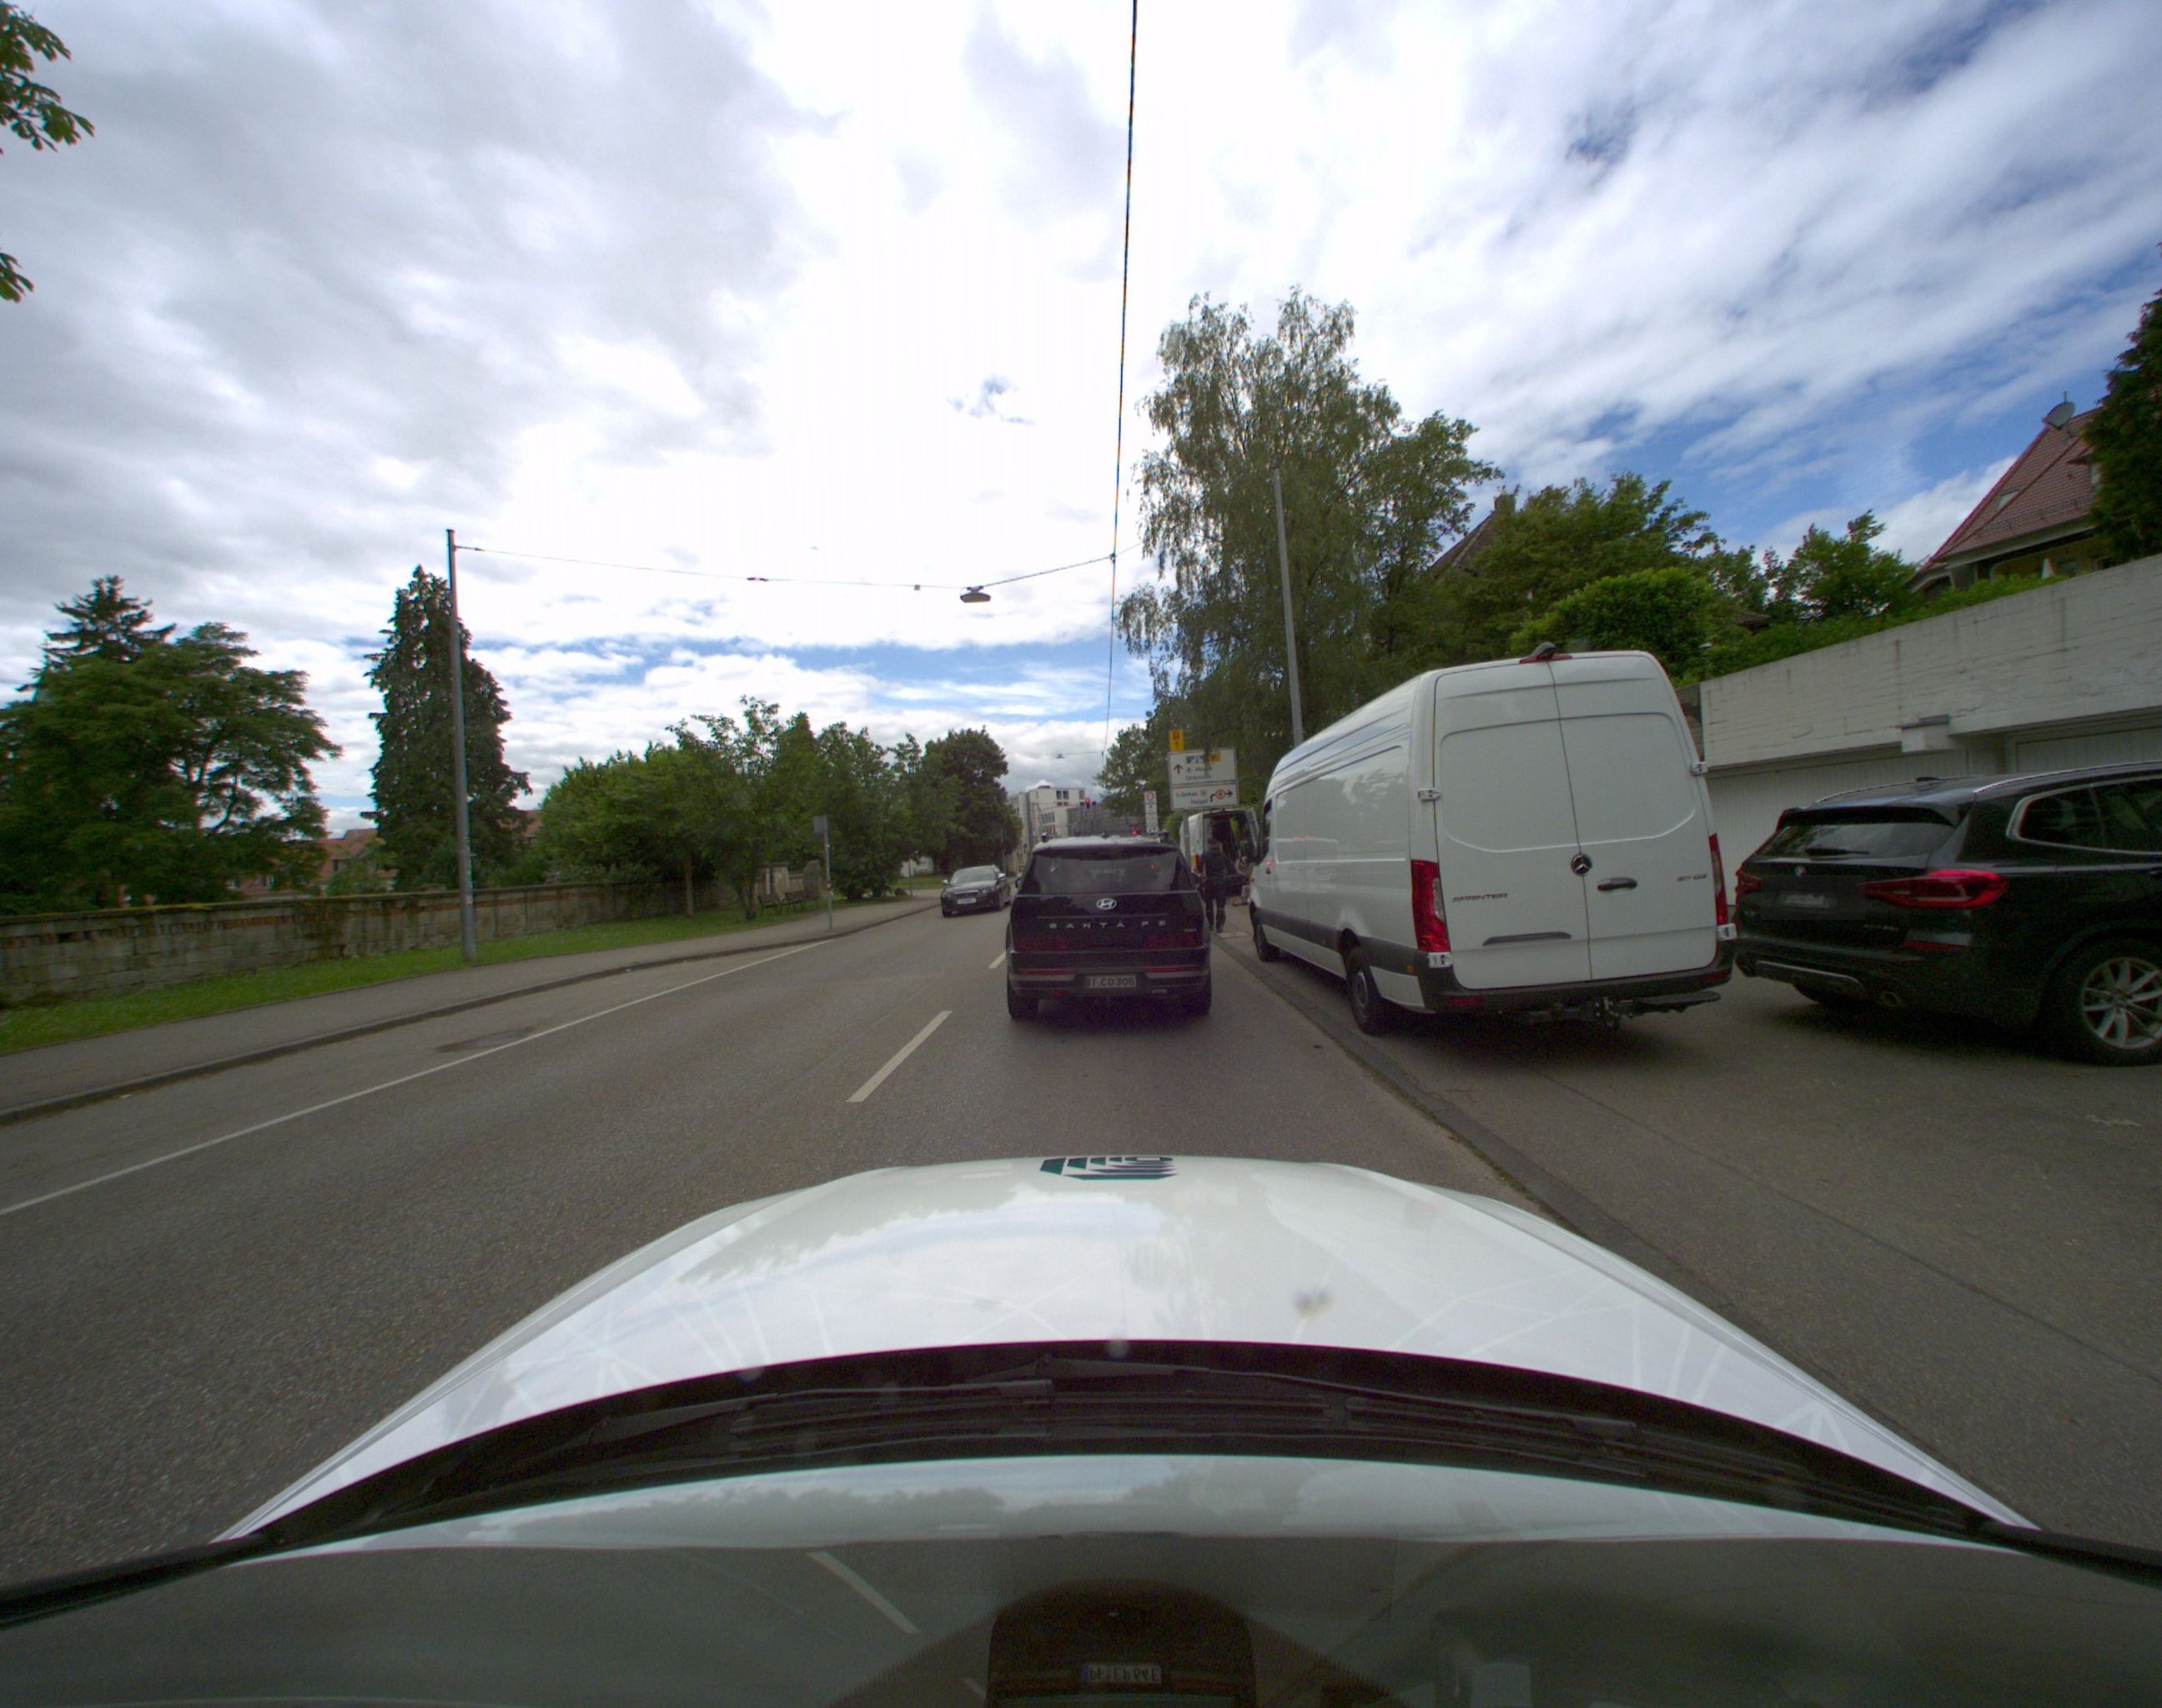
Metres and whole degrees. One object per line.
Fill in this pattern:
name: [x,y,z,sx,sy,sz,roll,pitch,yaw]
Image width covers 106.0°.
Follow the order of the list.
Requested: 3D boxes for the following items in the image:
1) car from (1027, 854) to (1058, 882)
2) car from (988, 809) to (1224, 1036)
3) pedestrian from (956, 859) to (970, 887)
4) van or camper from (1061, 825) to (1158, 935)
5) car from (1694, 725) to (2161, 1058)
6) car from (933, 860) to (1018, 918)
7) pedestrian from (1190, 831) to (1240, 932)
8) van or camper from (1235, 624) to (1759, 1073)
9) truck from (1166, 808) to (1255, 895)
car: [-2.616,0.941,56.308,1.779,1.653,4.120,-6,0,0]
car: [0.266,0.564,8.677,1.883,1.819,4.002,-2,0,2]
pedestrian: [-7.562,1.225,52.192,0.737,1.715,0.791,-3,0,-5]
van or camper: [0.615,0.505,17.620,1.748,2.013,4.002,-3,0,2]
car: [6.862,0.126,5.236,4.398,1.750,1.739,-3,0,3]
car: [-3.160,1.003,25.240,1.852,1.453,4.112,-6,0,2]
pedestrian: [2.467,0.495,15.126,0.754,1.797,0.873,-3,0,4]
van or camper: [3.133,-0.031,8.206,1.986,2.620,6.543,-3,0,2]
truck: [4.313,-0.056,28.092,1.937,2.561,5.213,-5,-1,-1]
